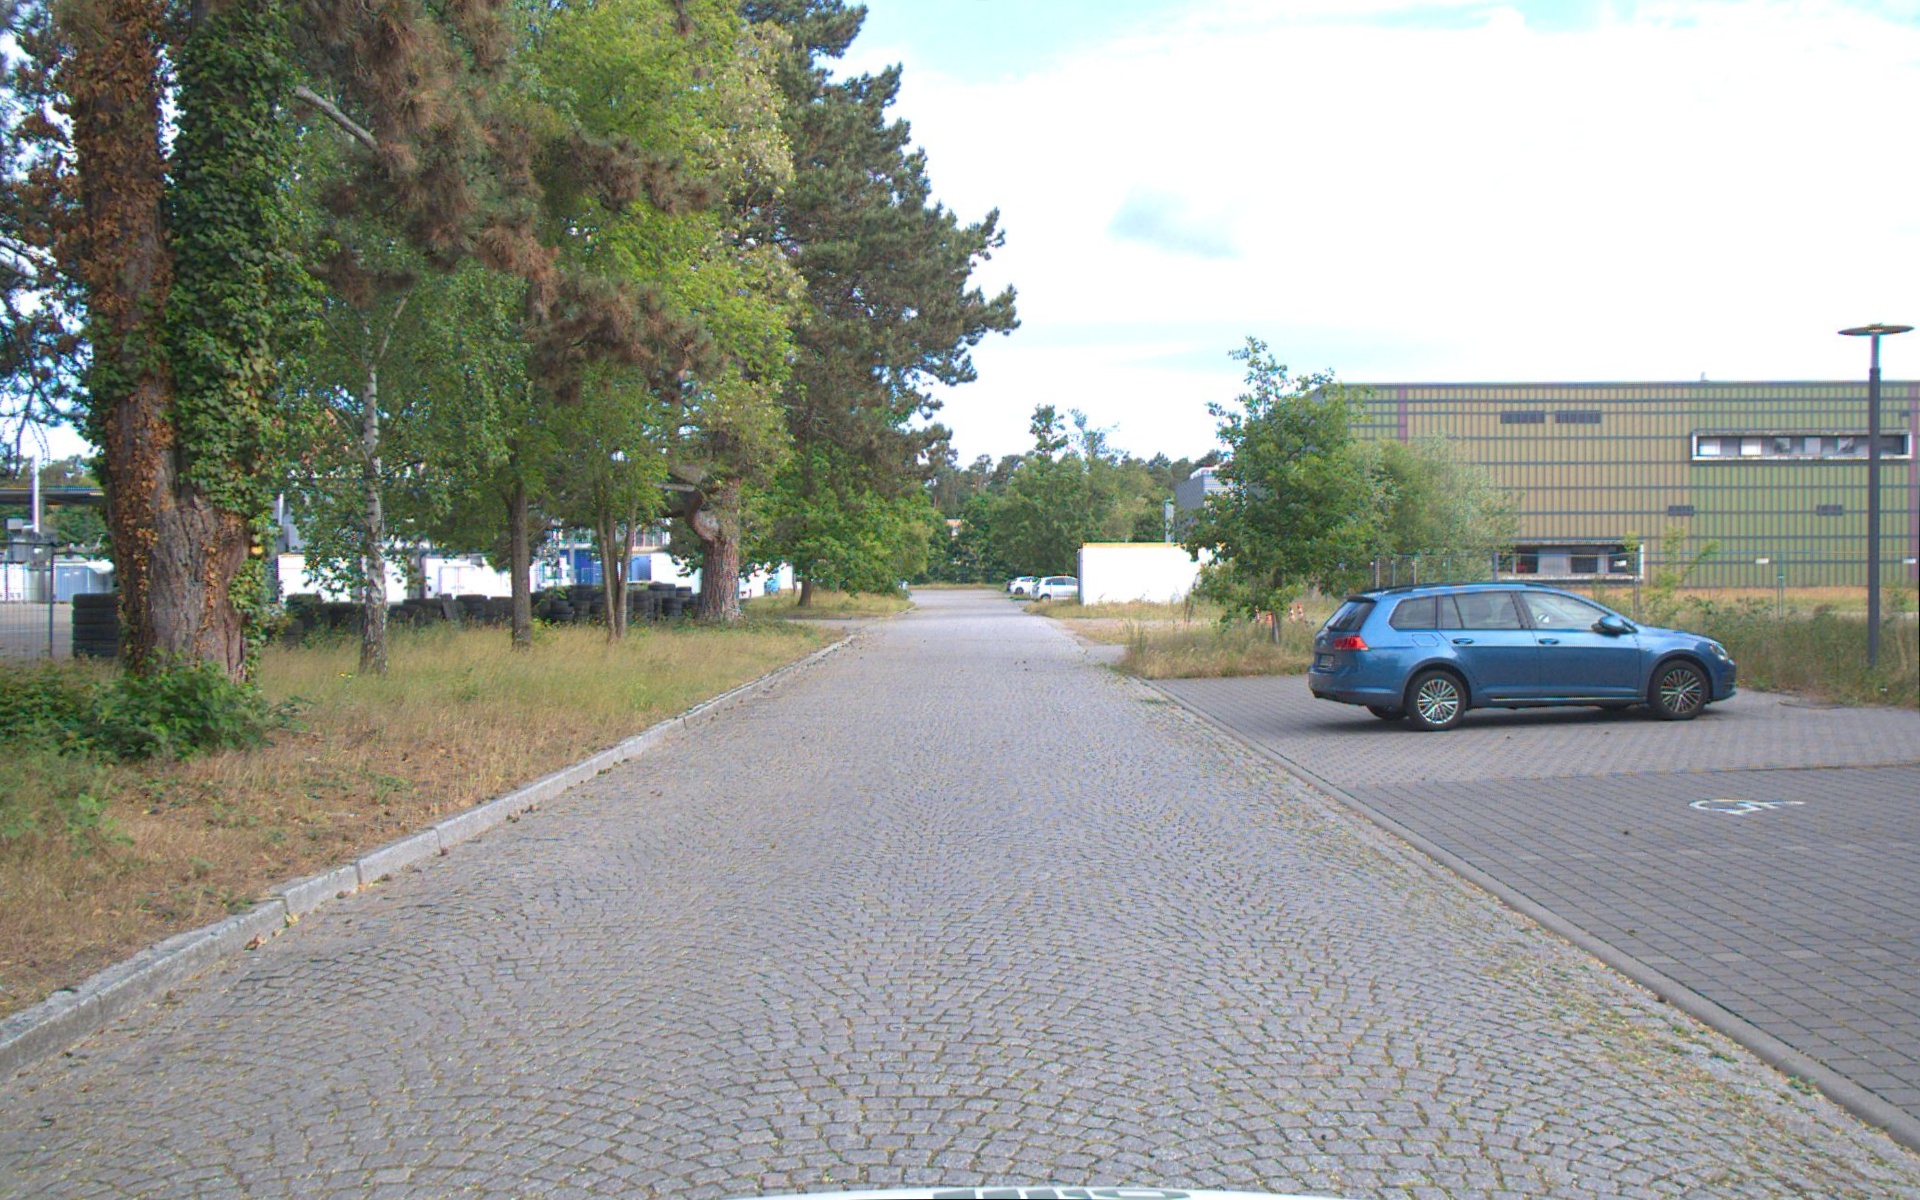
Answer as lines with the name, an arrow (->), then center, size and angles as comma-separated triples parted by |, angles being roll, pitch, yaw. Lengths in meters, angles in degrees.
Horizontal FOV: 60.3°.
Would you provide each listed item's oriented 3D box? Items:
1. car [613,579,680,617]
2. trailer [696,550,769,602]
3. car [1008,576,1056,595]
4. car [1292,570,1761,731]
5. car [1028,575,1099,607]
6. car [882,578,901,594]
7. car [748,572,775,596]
car -> -12.615, -0.085, 66.664 | 1.729, 1.478, 3.491 | 0, 1, 6
trailer -> -14.203, -1.513, 104.104 | 3.093, 3.121, 8.787 | 0, 1, 2
car -> 5.981, -1.208, 137.630 | 3.942, 1.528, 1.548 | 0, 1, 1
car -> 6.040, 0.504, 17.944 | 4.432, 1.468, 1.822 | -2, 1, -3
car -> 5.708, -0.509, 91.479 | 3.772, 1.683, 1.685 | 0, 1, -3
car -> -6.480, -1.353, 156.662 | 1.700, 1.495, 4.044 | 0, 1, -2
car -> -17.378, -1.389, 144.906 | 1.886, 2.083, 4.598 | 0, 1, -2
